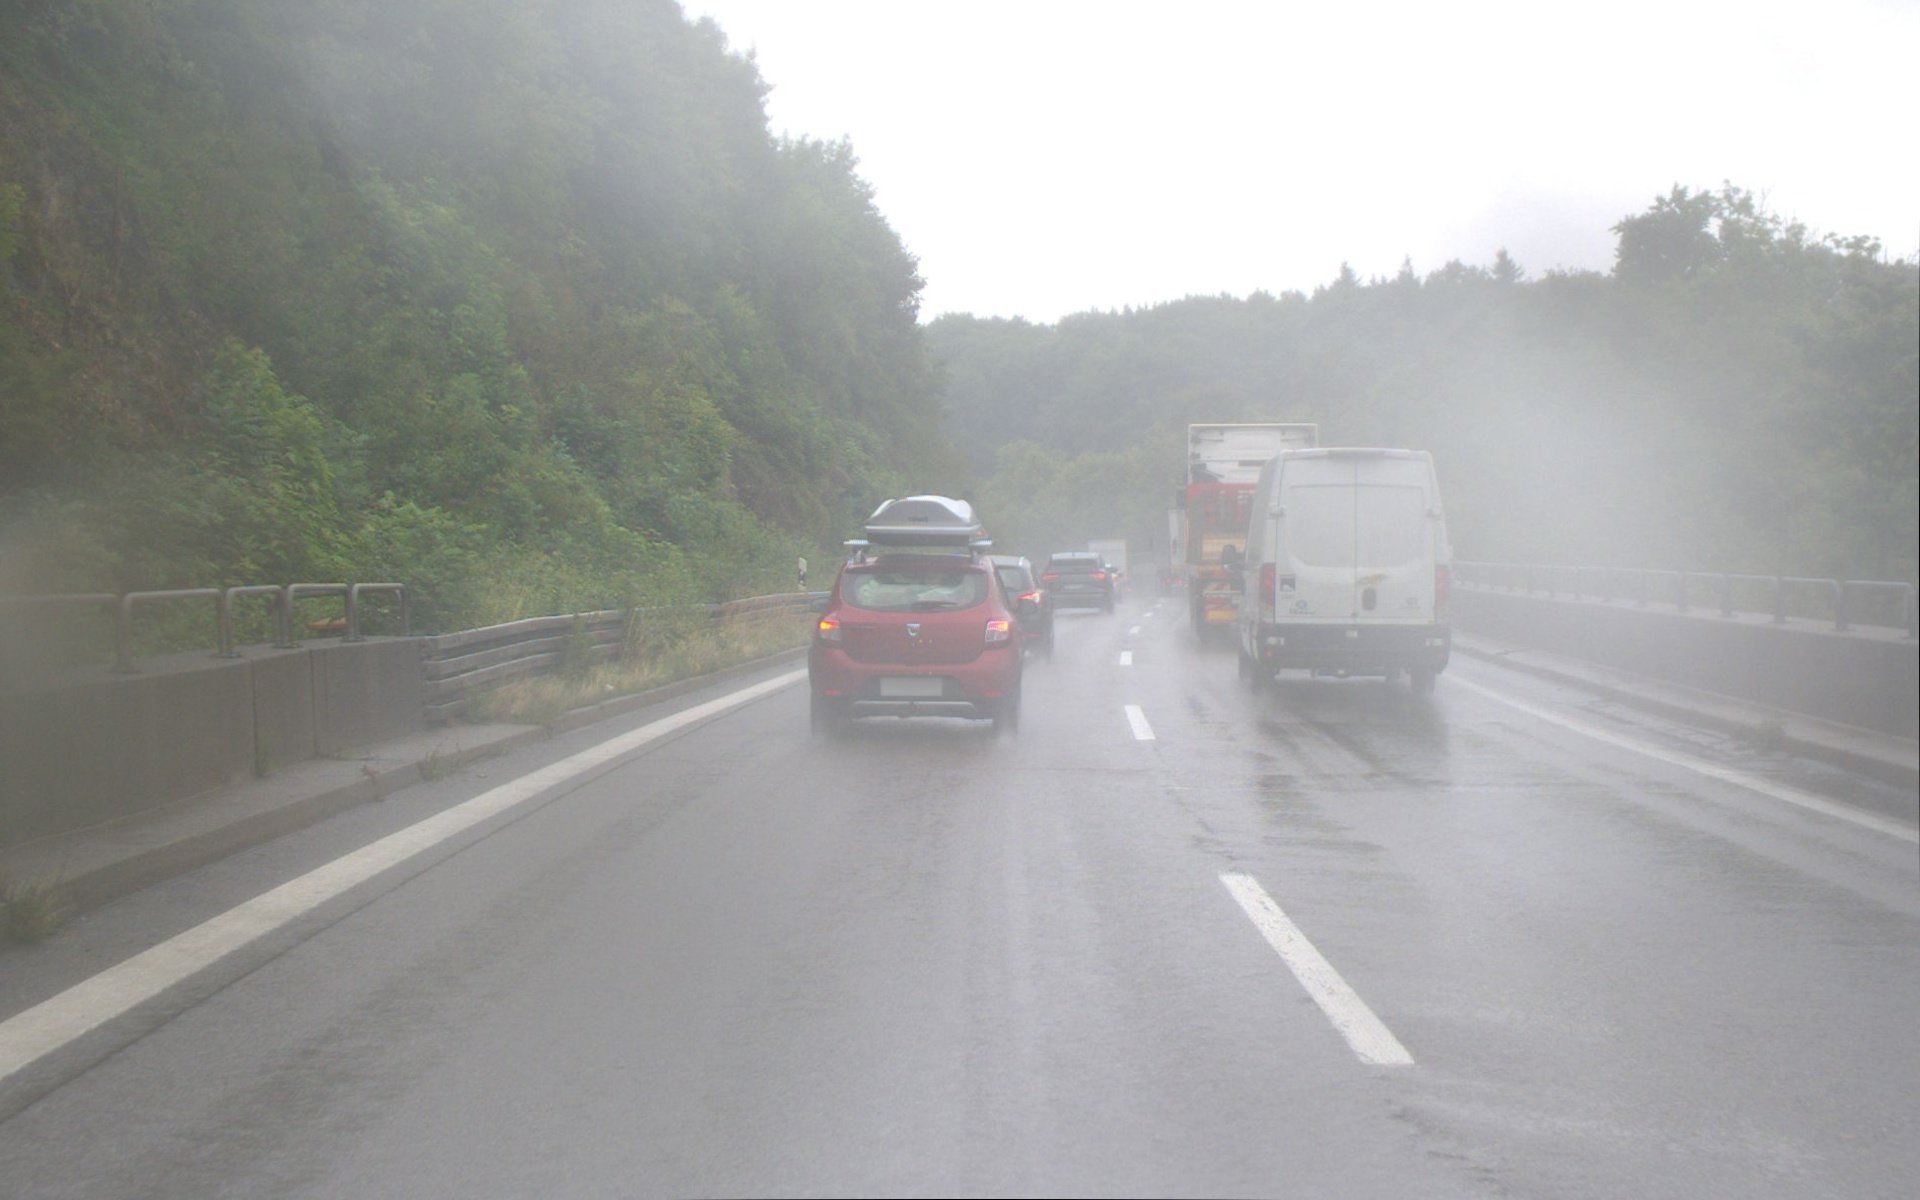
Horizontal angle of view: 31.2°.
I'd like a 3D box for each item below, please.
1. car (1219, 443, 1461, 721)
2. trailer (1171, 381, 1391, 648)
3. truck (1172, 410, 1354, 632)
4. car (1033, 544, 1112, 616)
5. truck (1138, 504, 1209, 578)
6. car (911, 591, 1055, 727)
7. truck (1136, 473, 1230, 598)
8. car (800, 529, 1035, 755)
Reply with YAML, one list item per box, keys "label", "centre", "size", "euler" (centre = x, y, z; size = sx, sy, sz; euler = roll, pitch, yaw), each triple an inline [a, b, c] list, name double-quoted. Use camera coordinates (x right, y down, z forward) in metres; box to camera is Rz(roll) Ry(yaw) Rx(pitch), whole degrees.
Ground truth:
- label: "car"
  centre: [4.091, -0.219, 38.222]
  size: [2.206, 2.784, 7.382]
  euler: [0, 1, 3]
- label: "trailer"
  centre: [5.289, -1.369, 58.953]
  size: [3.219, 3.985, 13.522]
  euler: [-1, 1, 3]
- label: "truck"
  centre: [5.683, -1.460, 65.291]
  size: [3.220, 3.964, 5.438]
  euler: [-1, 0, 3]
- label: "car"
  centre: [2.901, -0.523, 88.524]
  size: [1.875, 1.700, 3.888]
  euler: [-3, 0, 2]
- label: "truck"
  centre: [9.753, -2.705, 157.790]
  size: [3.062, 3.300, 8.070]
  euler: [1, 1, 3]
- label: "car"
  centre: [0.340, 0.784, 47.848]
  size: [1.833, 1.709, 3.645]
  euler: [-3, 0, 1]
- label: "truck"
  centre: [7.790, -2.217, 121.131]
  size: [2.687, 4.080, 9.315]
  euler: [-3, 0, 1]
- label: "car"
  centre: [-0.294, 0.319, 29.068]
  size: [1.758, 1.679, 4.000]
  euler: [-3, 0, 1]
